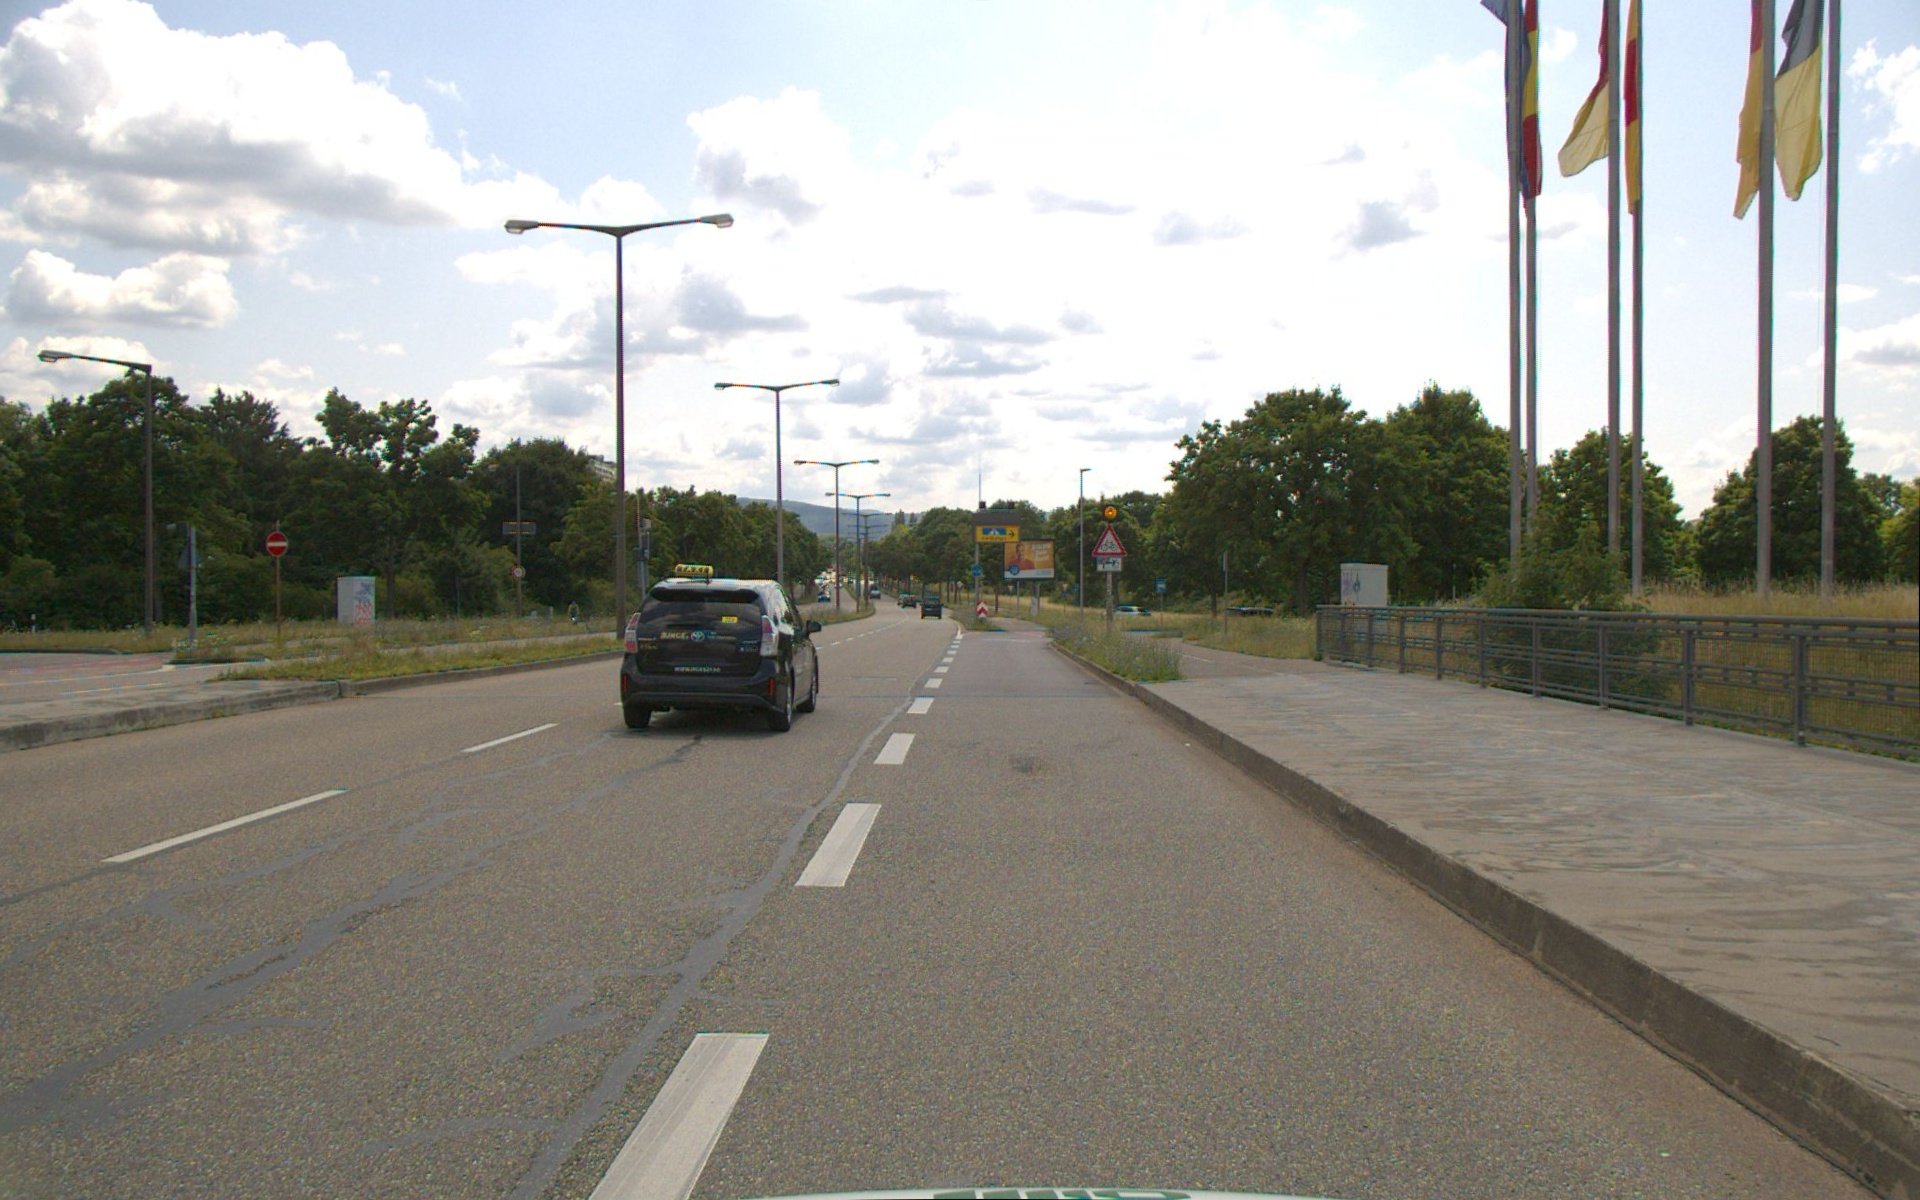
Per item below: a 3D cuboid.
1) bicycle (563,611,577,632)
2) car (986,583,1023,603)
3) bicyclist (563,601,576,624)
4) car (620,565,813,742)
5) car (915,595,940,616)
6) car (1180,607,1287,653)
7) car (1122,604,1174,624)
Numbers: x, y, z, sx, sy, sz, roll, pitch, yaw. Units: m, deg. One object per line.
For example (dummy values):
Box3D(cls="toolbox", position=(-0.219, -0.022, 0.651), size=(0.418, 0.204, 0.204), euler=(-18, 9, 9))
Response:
Box3D(cls="bicycle", position=(-22.349, 1.226, 94.720), size=(0.423, 1.087, 1.907), euler=(1, 1, -3))
Box3D(cls="car", position=(4.082, -0.667, 150.969), size=(1.966, 1.691, 3.974), euler=(1, 1, -22))
Box3D(cls="bicyclist", position=(-22.343, 0.706, 94.733), size=(0.510, 1.294, 1.106), euler=(1, 1, -3))
Box3D(cls="car", position=(-2.581, 0.489, 18.354), size=(1.744, 1.713, 3.998), euler=(1, 1, -4))
Box3D(cls="car", position=(-2.732, 0.454, 140.311), size=(1.954, 1.691, 3.998), euler=(1, 1, -3))
Box3D(cls="car", position=(10.760, 1.151, 65.006), size=(3.955, 1.691, 1.975), euler=(1, 1, -36))
Box3D(cls="car", position=(15.907, 1.188, 140.325), size=(3.921, 1.534, 1.992), euler=(2, 1, 36))
